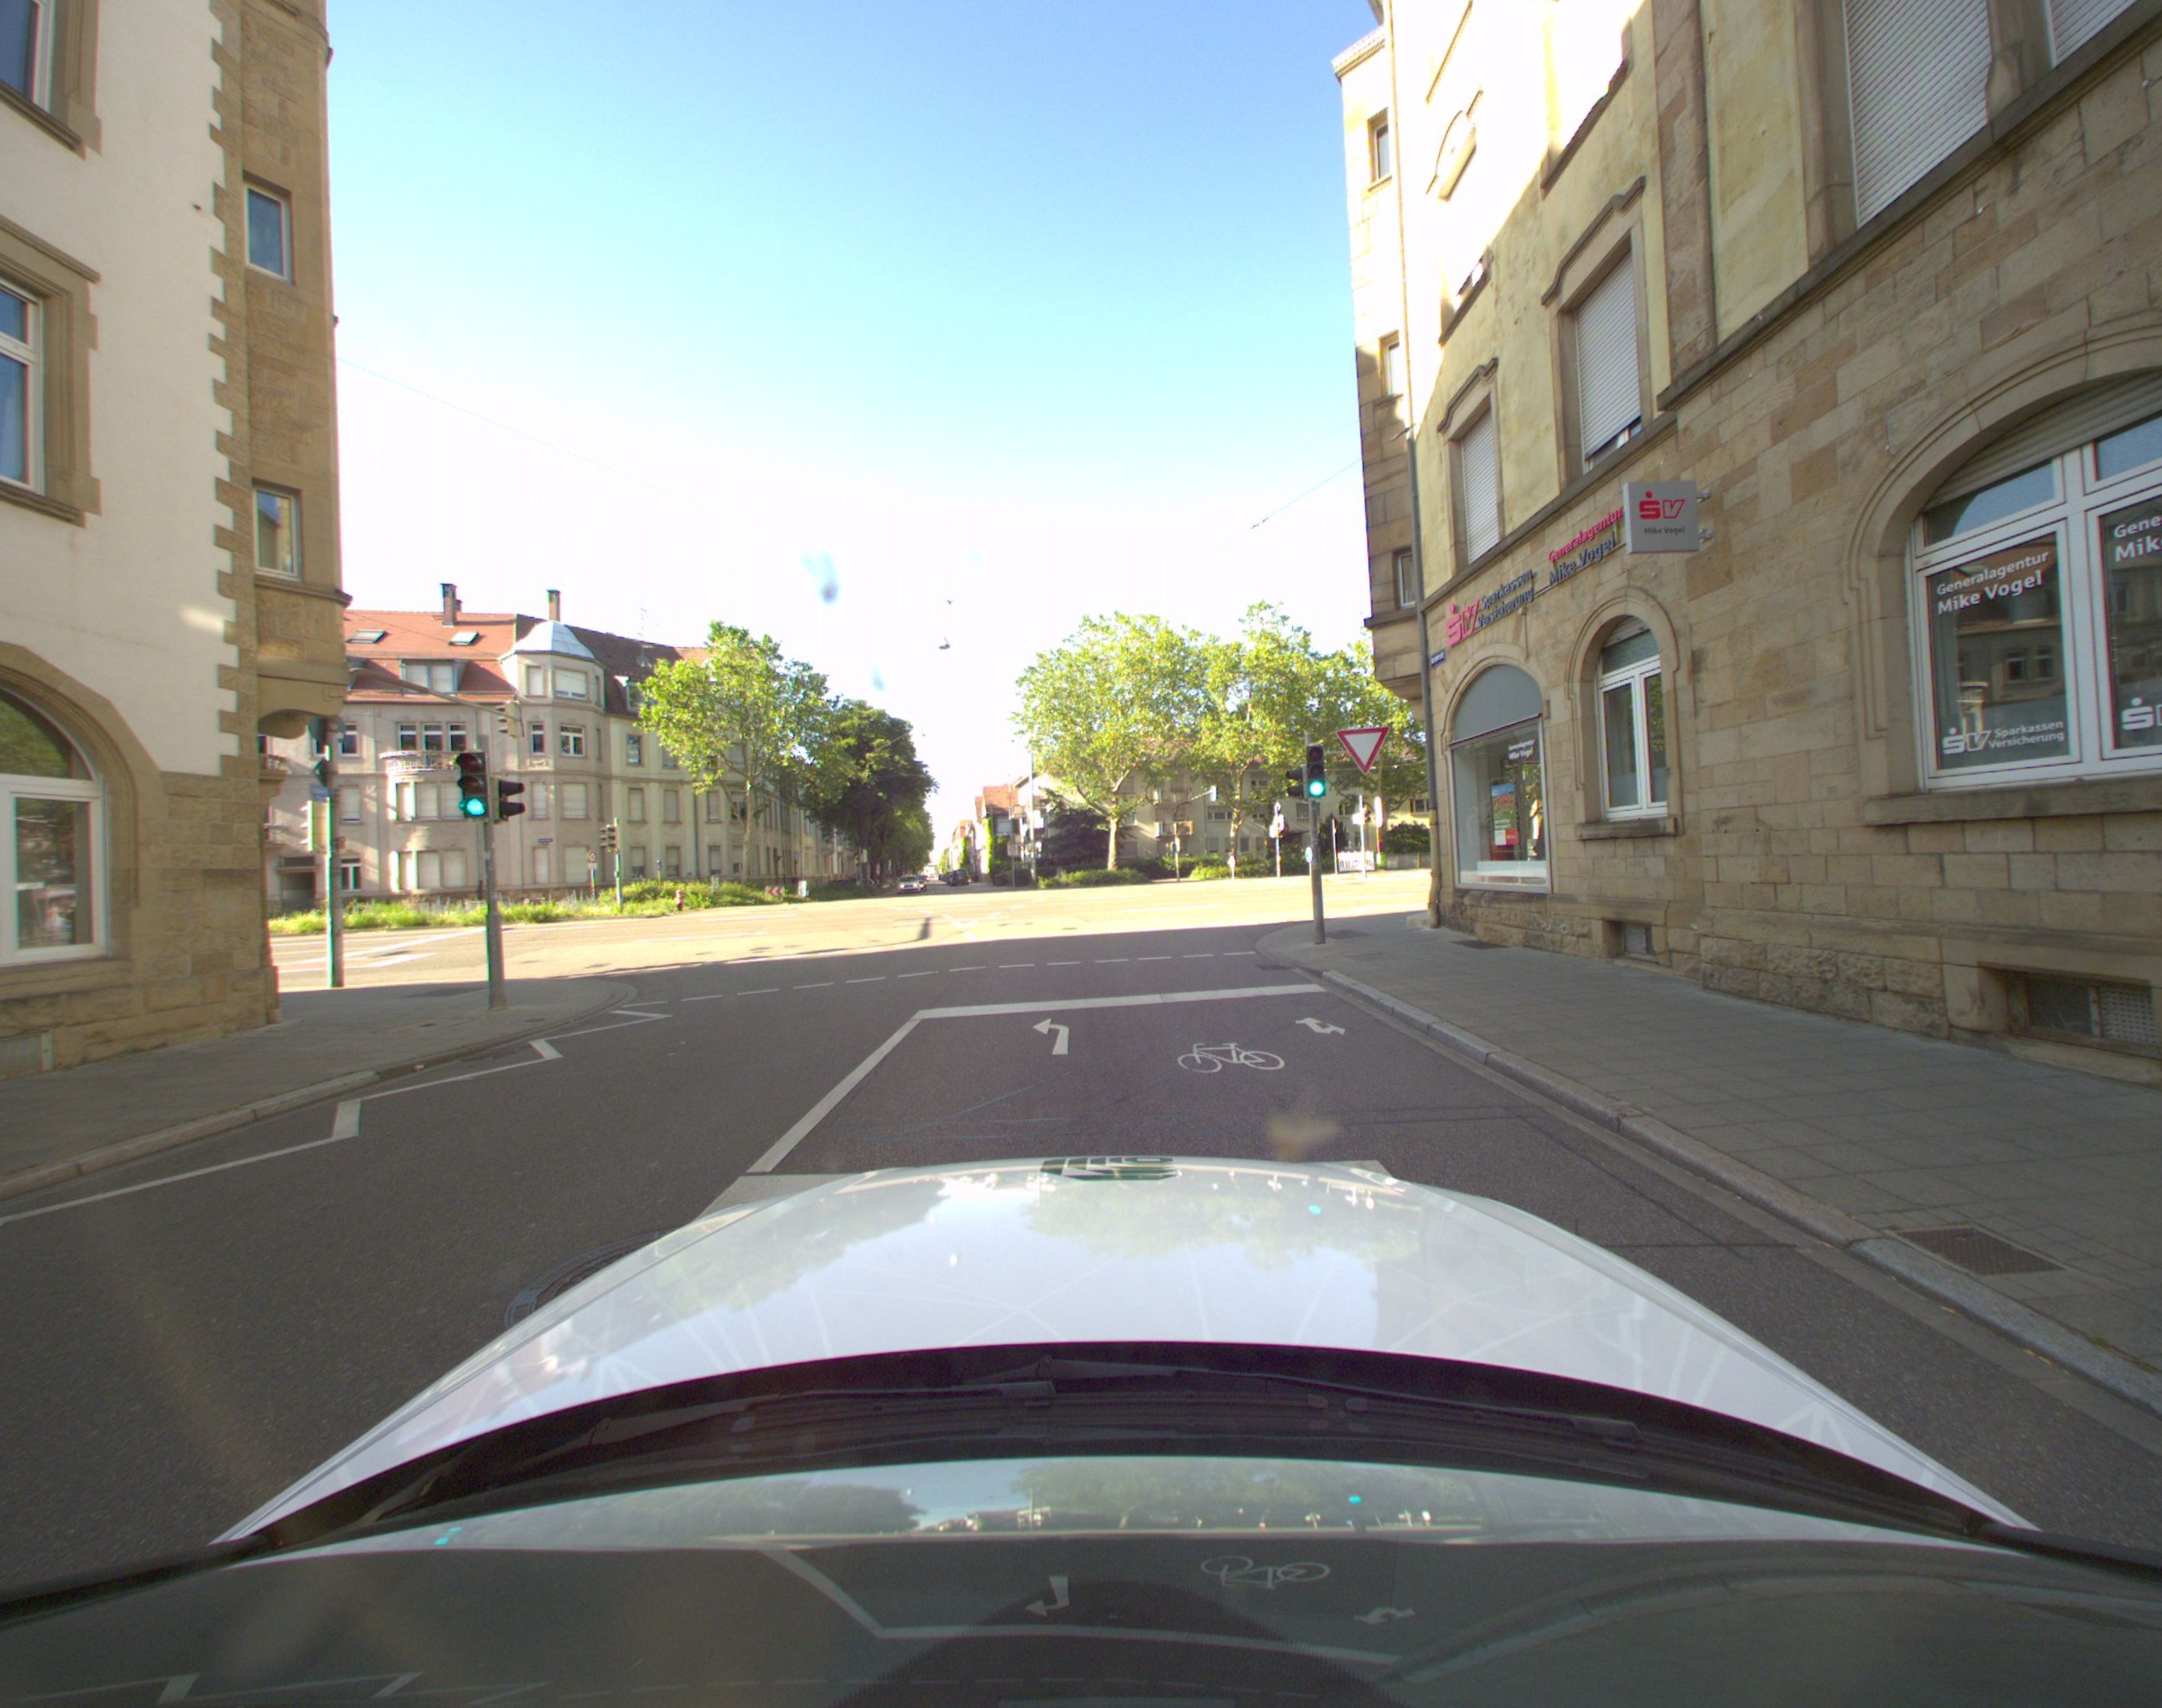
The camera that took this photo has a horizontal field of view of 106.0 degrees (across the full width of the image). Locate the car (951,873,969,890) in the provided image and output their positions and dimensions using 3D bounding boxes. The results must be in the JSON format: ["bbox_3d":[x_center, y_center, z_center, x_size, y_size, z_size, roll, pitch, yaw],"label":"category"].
[{"bbox_3d":[-14.228,3.165,95.667,1.865,1.916,4.764,2,-2,-10],"label":"car"}]

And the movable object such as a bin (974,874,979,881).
[{"bbox_3d":[-14.948,3.368,116.644,0.648,1.040,0.824,-3,-1,-13],"label":"movable object such as a bin"}]

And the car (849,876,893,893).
[{"bbox_3d":[-20.620,2.964,79.917,3.987,1.482,1.779,-2,-1,-10],"label":"car"}]

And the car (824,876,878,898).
[{"bbox_3d":[-18.049,2.572,64.165,3.885,1.476,1.609,-3,-1,-12],"label":"car"}]

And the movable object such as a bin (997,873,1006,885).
[{"bbox_3d":[-7.152,2.230,73.081,0.598,1.044,0.704,-6,0,-13],"label":"movable object such as a bin"}]

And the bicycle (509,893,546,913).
[{"bbox_3d":[-28.407,2.510,41.797,1.437,0.905,0.494,-3,-1,-15],"label":"bicycle"}]

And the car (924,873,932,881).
[{"bbox_3d":[-33.525,5.024,178.442,1.642,1.508,3.687,-4,-1,-11],"label":"car"}]

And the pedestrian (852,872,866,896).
[{"bbox_3d":[-15.532,2.086,57.036,0.691,1.682,0.680,-3,-1,0],"label":"pedestrian"}]

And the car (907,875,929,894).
[{"bbox_3d":[-13.942,2.602,69.851,1.661,1.464,3.795,-3,-1,-10],"label":"car"}]

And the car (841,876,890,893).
[{"bbox_3d":[-19.854,2.826,75.241,4.214,1.349,1.696,-2,-2,-12],"label":"car"}]

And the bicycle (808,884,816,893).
[{"bbox_3d":[-24.217,3.082,73.380,0.573,0.816,0.963,1,-2,-12],"label":"bicycle"}]

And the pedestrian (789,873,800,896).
[{"bbox_3d":[-21.244,2.249,60.399,0.459,1.658,0.893,-3,-1,-3],"label":"pedestrian"}]

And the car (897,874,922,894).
[{"bbox_3d":[-13.494,2.375,64.082,1.807,1.458,3.983,-3,-2,-12],"label":"car"}]
